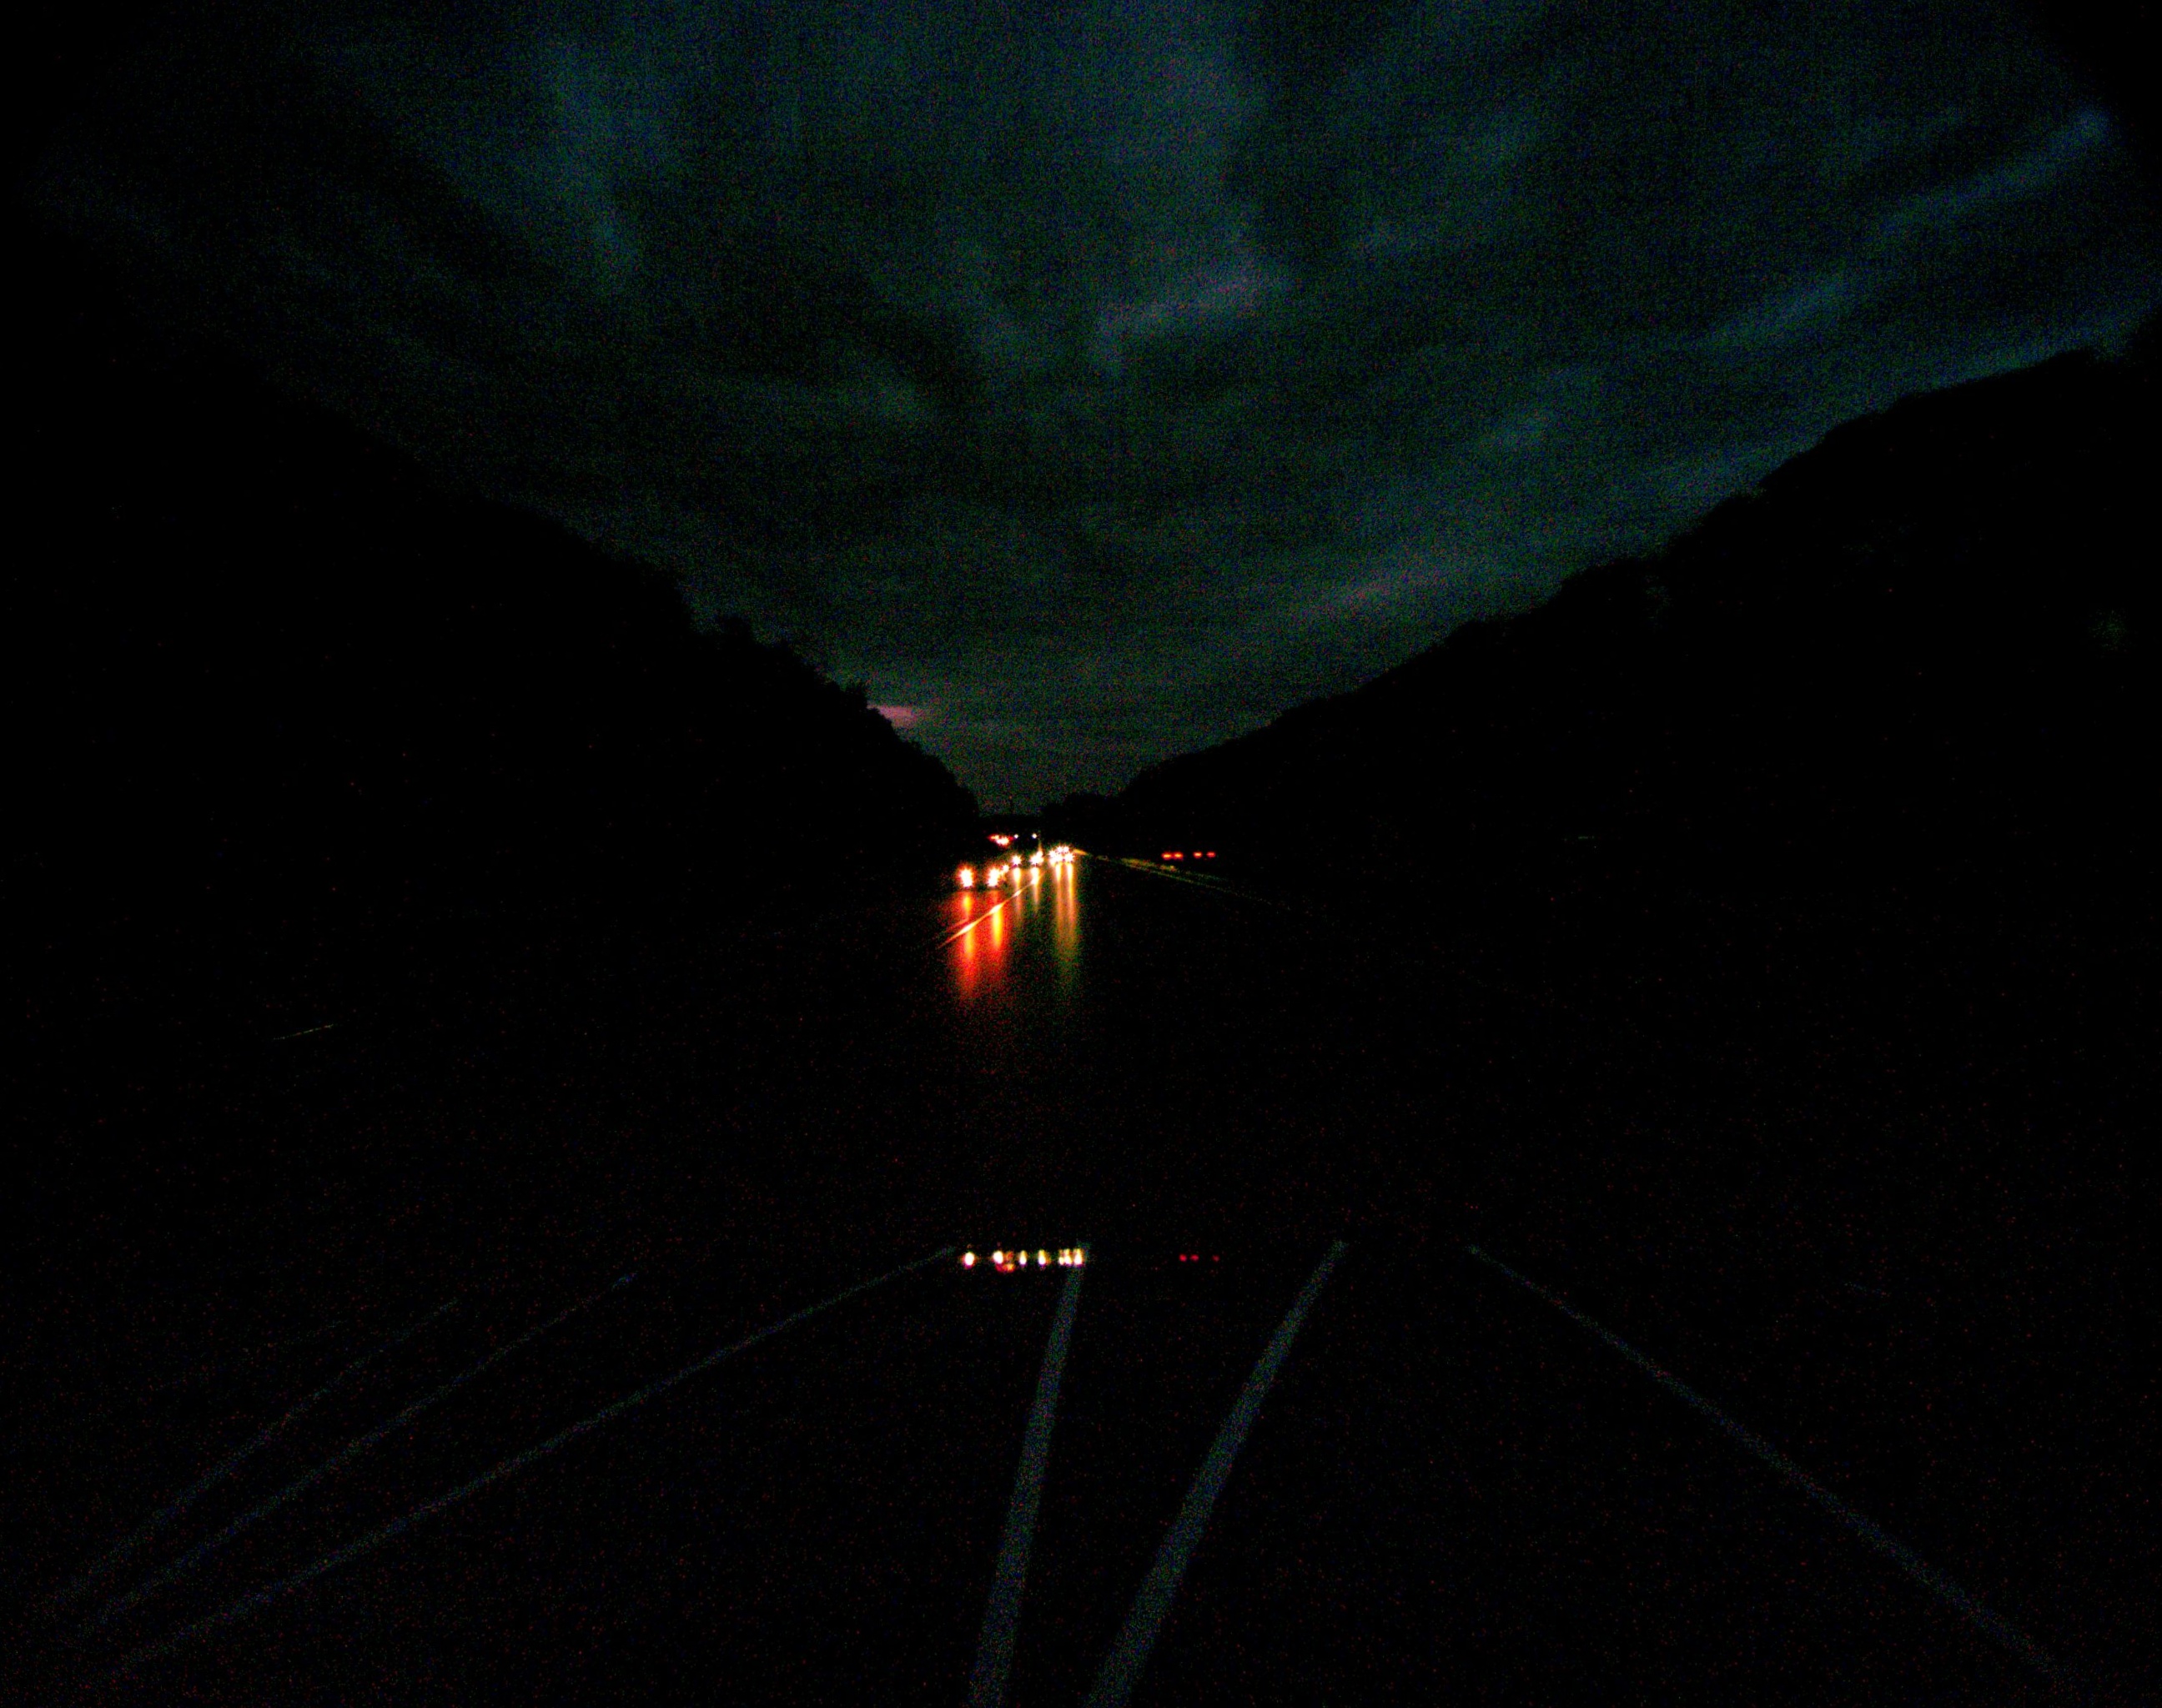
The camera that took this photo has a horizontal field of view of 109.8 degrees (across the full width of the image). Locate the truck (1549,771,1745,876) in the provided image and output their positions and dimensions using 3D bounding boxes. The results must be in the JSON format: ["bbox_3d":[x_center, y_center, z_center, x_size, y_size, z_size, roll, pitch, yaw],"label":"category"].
[{"bbox_3d":[24.946,-1.289,34.142,3.199,4.081,7.688,-2,1,1],"label":"truck"}]

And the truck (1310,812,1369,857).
[{"bbox_3d":[25.285,-1.913,74.777,3.199,4.081,7.688,-2,1,1],"label":"truck"}]

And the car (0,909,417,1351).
[{"bbox_3d":[-4.843,1.116,2.070,1.870,1.427,4.583,-3,1,2],"label":"car"}]

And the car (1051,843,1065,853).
[{"bbox_3d":[-4.202,-1.085,136.505,1.924,1.706,4.938,-3,2,-7],"label":"car"}]

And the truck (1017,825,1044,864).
[{"bbox_3d":[-5.302,-1.110,80.852,2.498,3.946,5.587,-2,2,-1],"label":"truck"}]

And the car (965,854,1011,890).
[{"bbox_3d":[-4.371,0.800,36.358,1.696,1.481,4.948,-3,0,-2],"label":"car"}]

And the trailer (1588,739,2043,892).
[{"bbox_3d":[24.827,-1.201,27.888,3.199,4.081,14.180,-2,1,1],"label":"trailer"}]

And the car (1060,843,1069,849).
[{"bbox_3d":[-4.218,-2.095,195.691,1.697,1.481,4.944,-1,1,-7],"label":"car"}]

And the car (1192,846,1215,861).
[{"bbox_3d":[13.068,-0.127,81.432,1.690,1.506,4.413,-1,1,0],"label":"car"}]

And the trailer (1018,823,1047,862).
[{"bbox_3d":[-5.493,-1.456,88.235,2.489,4.051,13.498,-2,2,-1],"label":"trailer"}]

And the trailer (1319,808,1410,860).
[{"bbox_3d":[25.163,-1.778,68.637,3.199,4.081,13.737,-2,1,1],"label":"trailer"}]

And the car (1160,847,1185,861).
[{"bbox_3d":[9.521,0.006,79.567,1.855,1.373,4.643,-1,0,-2],"label":"car"}]

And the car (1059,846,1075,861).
[{"bbox_3d":[-1.737,-0.127,93.913,1.870,1.701,4.582,-3,1,-1],"label":"car"}]
